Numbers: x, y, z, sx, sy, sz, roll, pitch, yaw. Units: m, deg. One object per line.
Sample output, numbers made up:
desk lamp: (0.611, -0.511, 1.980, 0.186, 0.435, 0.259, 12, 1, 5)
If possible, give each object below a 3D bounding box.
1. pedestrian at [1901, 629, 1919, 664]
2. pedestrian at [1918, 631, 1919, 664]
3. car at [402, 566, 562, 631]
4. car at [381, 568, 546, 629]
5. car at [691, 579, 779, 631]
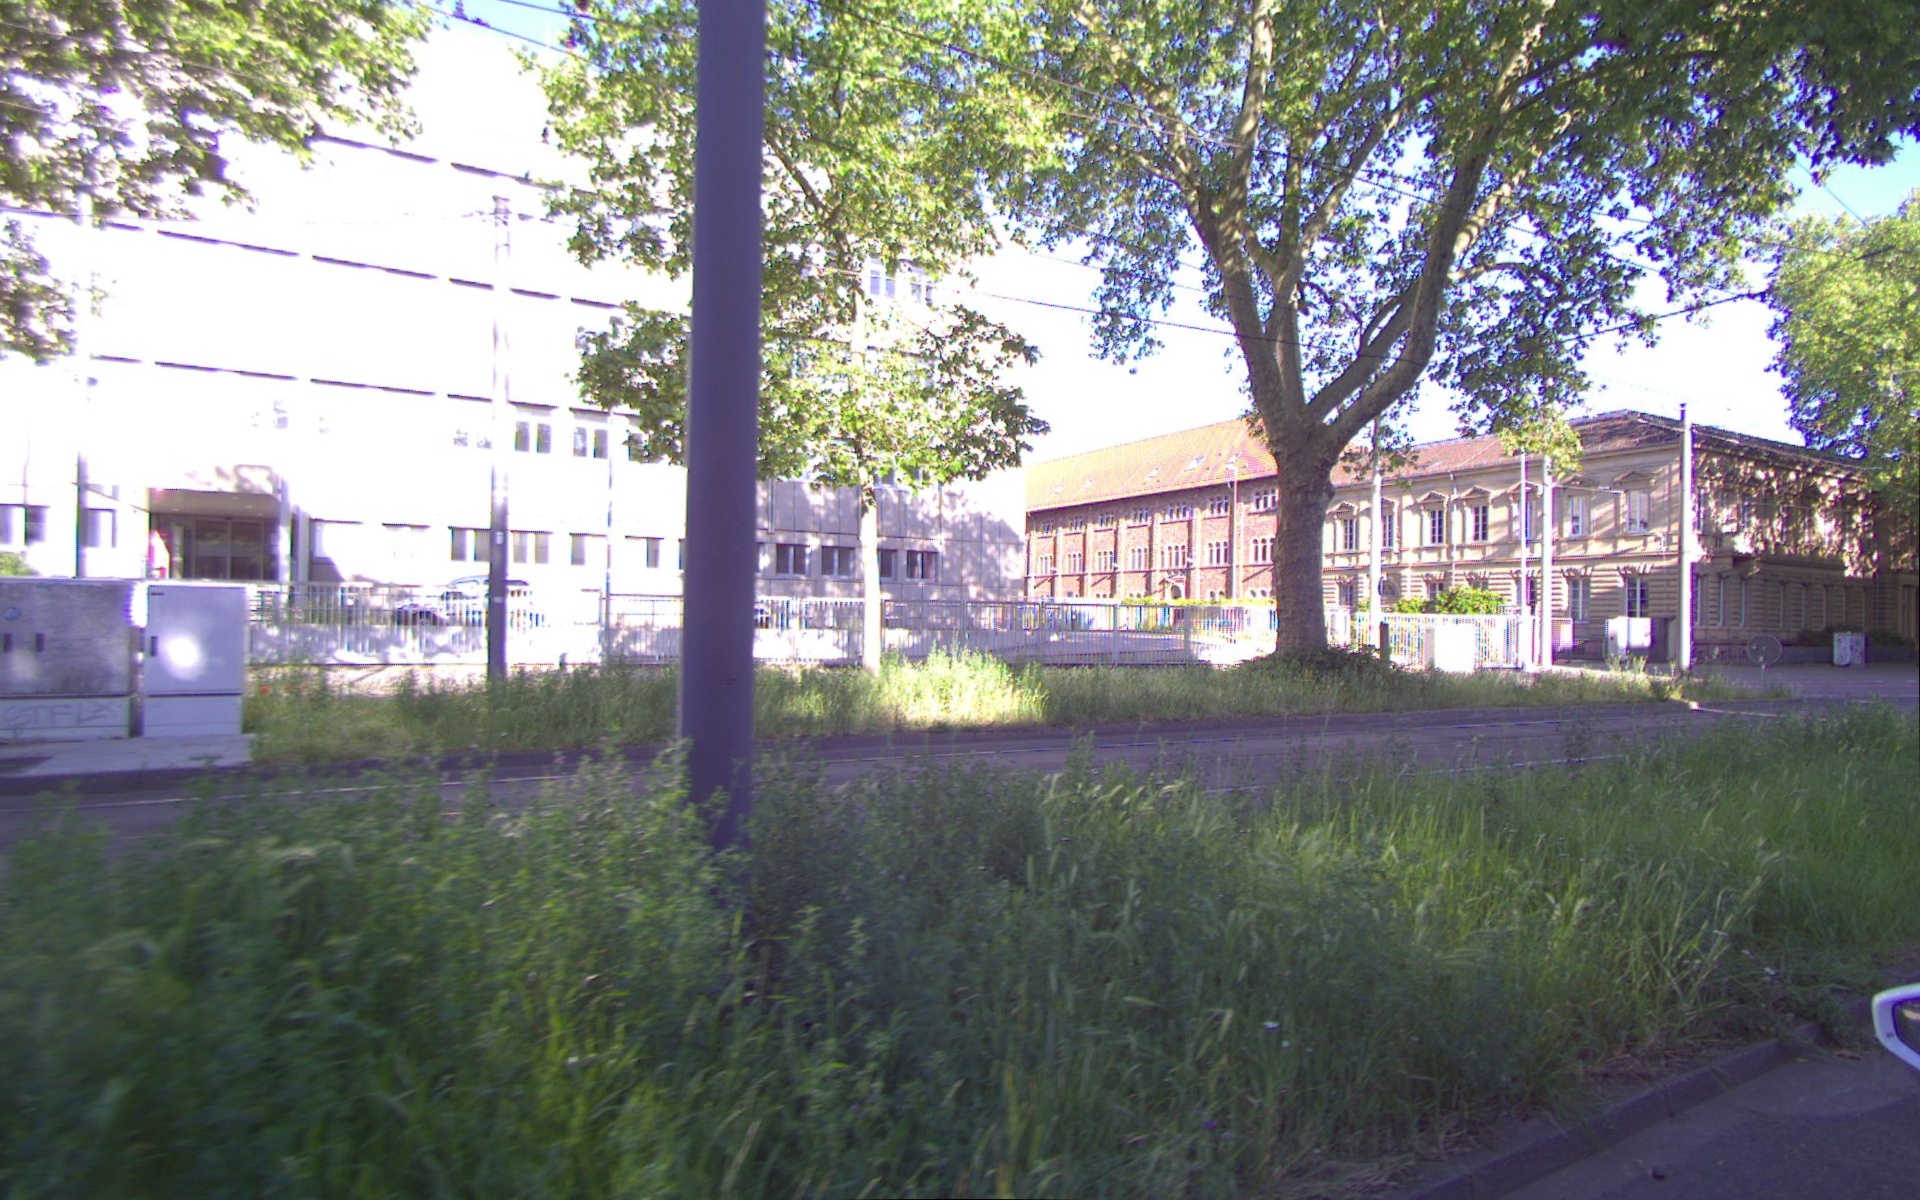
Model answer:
pedestrian: (48.431, 2.372, 51.102, 0.589, 1.757, 0.615, 1, 2, -30)
pedestrian: (48.820, 2.405, 50.578, 0.608, 1.644, 0.655, 1, 2, -30)
car: (-15.813, 0.003, 33.448, 4.660, 2.040, 1.988, 1, -1, -25)
car: (-14.921, -0.005, 30.429, 4.318, 1.726, 1.988, 1, -1, -25)
car: (-9.578, 0.243, 42.510, 1.980, 2.040, 4.708, 1, -1, -35)
